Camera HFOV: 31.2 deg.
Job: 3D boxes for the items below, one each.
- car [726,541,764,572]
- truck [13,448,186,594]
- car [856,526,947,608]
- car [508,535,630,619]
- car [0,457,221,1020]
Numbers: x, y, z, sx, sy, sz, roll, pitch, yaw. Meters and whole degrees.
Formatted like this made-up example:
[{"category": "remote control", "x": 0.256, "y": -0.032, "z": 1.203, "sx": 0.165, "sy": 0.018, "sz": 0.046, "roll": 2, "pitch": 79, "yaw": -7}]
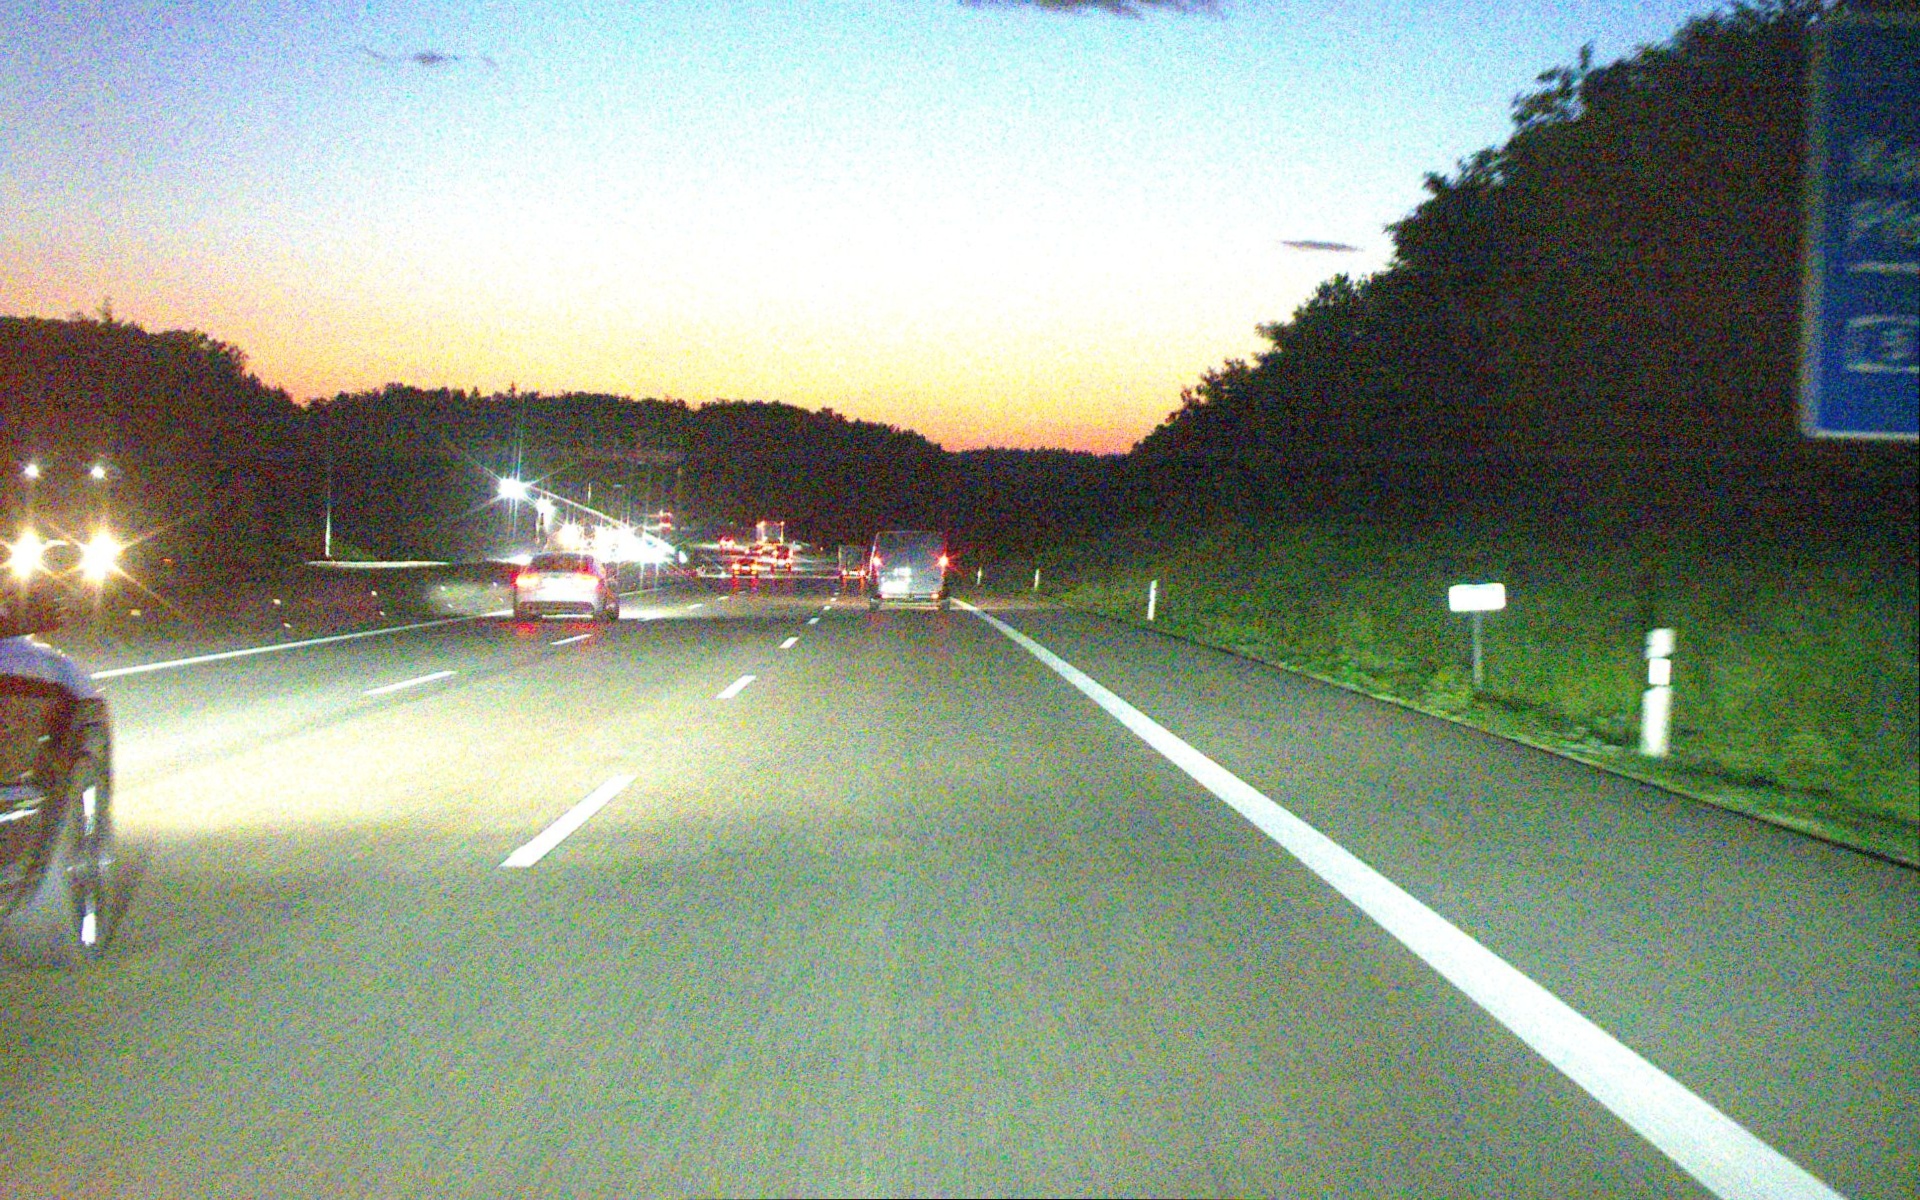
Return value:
[{"category": "car", "x": -14.701, "y": -2.974, "z": 235.250, "sx": 2.196, "sy": 1.948, "sz": 4.634, "roll": 3, "pitch": 2, "yaw": 0}, {"category": "truck", "x": -23.822, "y": -2.160, "z": 95.669, "sx": 2.519, "sy": 3.838, "sz": 9.065, "roll": 1, "pitch": 1, "yaw": 0}, {"category": "car", "x": -1.481, "y": -0.838, "z": 85.197, "sx": 2.196, "sy": 1.948, "sz": 4.764, "roll": 0, "pitch": 2, "yaw": -2}, {"category": "car", "x": -7.865, "y": -0.495, "z": 69.533, "sx": 1.779, "sy": 1.481, "sz": 5.254, "roll": 3, "pitch": 2, "yaw": 0}, {"category": "car", "x": -3.921, "y": 0.425, "z": 10.601, "sx": 1.993, "sy": 1.715, "sz": 5.942, "roll": 0, "pitch": 1, "yaw": 0}]
